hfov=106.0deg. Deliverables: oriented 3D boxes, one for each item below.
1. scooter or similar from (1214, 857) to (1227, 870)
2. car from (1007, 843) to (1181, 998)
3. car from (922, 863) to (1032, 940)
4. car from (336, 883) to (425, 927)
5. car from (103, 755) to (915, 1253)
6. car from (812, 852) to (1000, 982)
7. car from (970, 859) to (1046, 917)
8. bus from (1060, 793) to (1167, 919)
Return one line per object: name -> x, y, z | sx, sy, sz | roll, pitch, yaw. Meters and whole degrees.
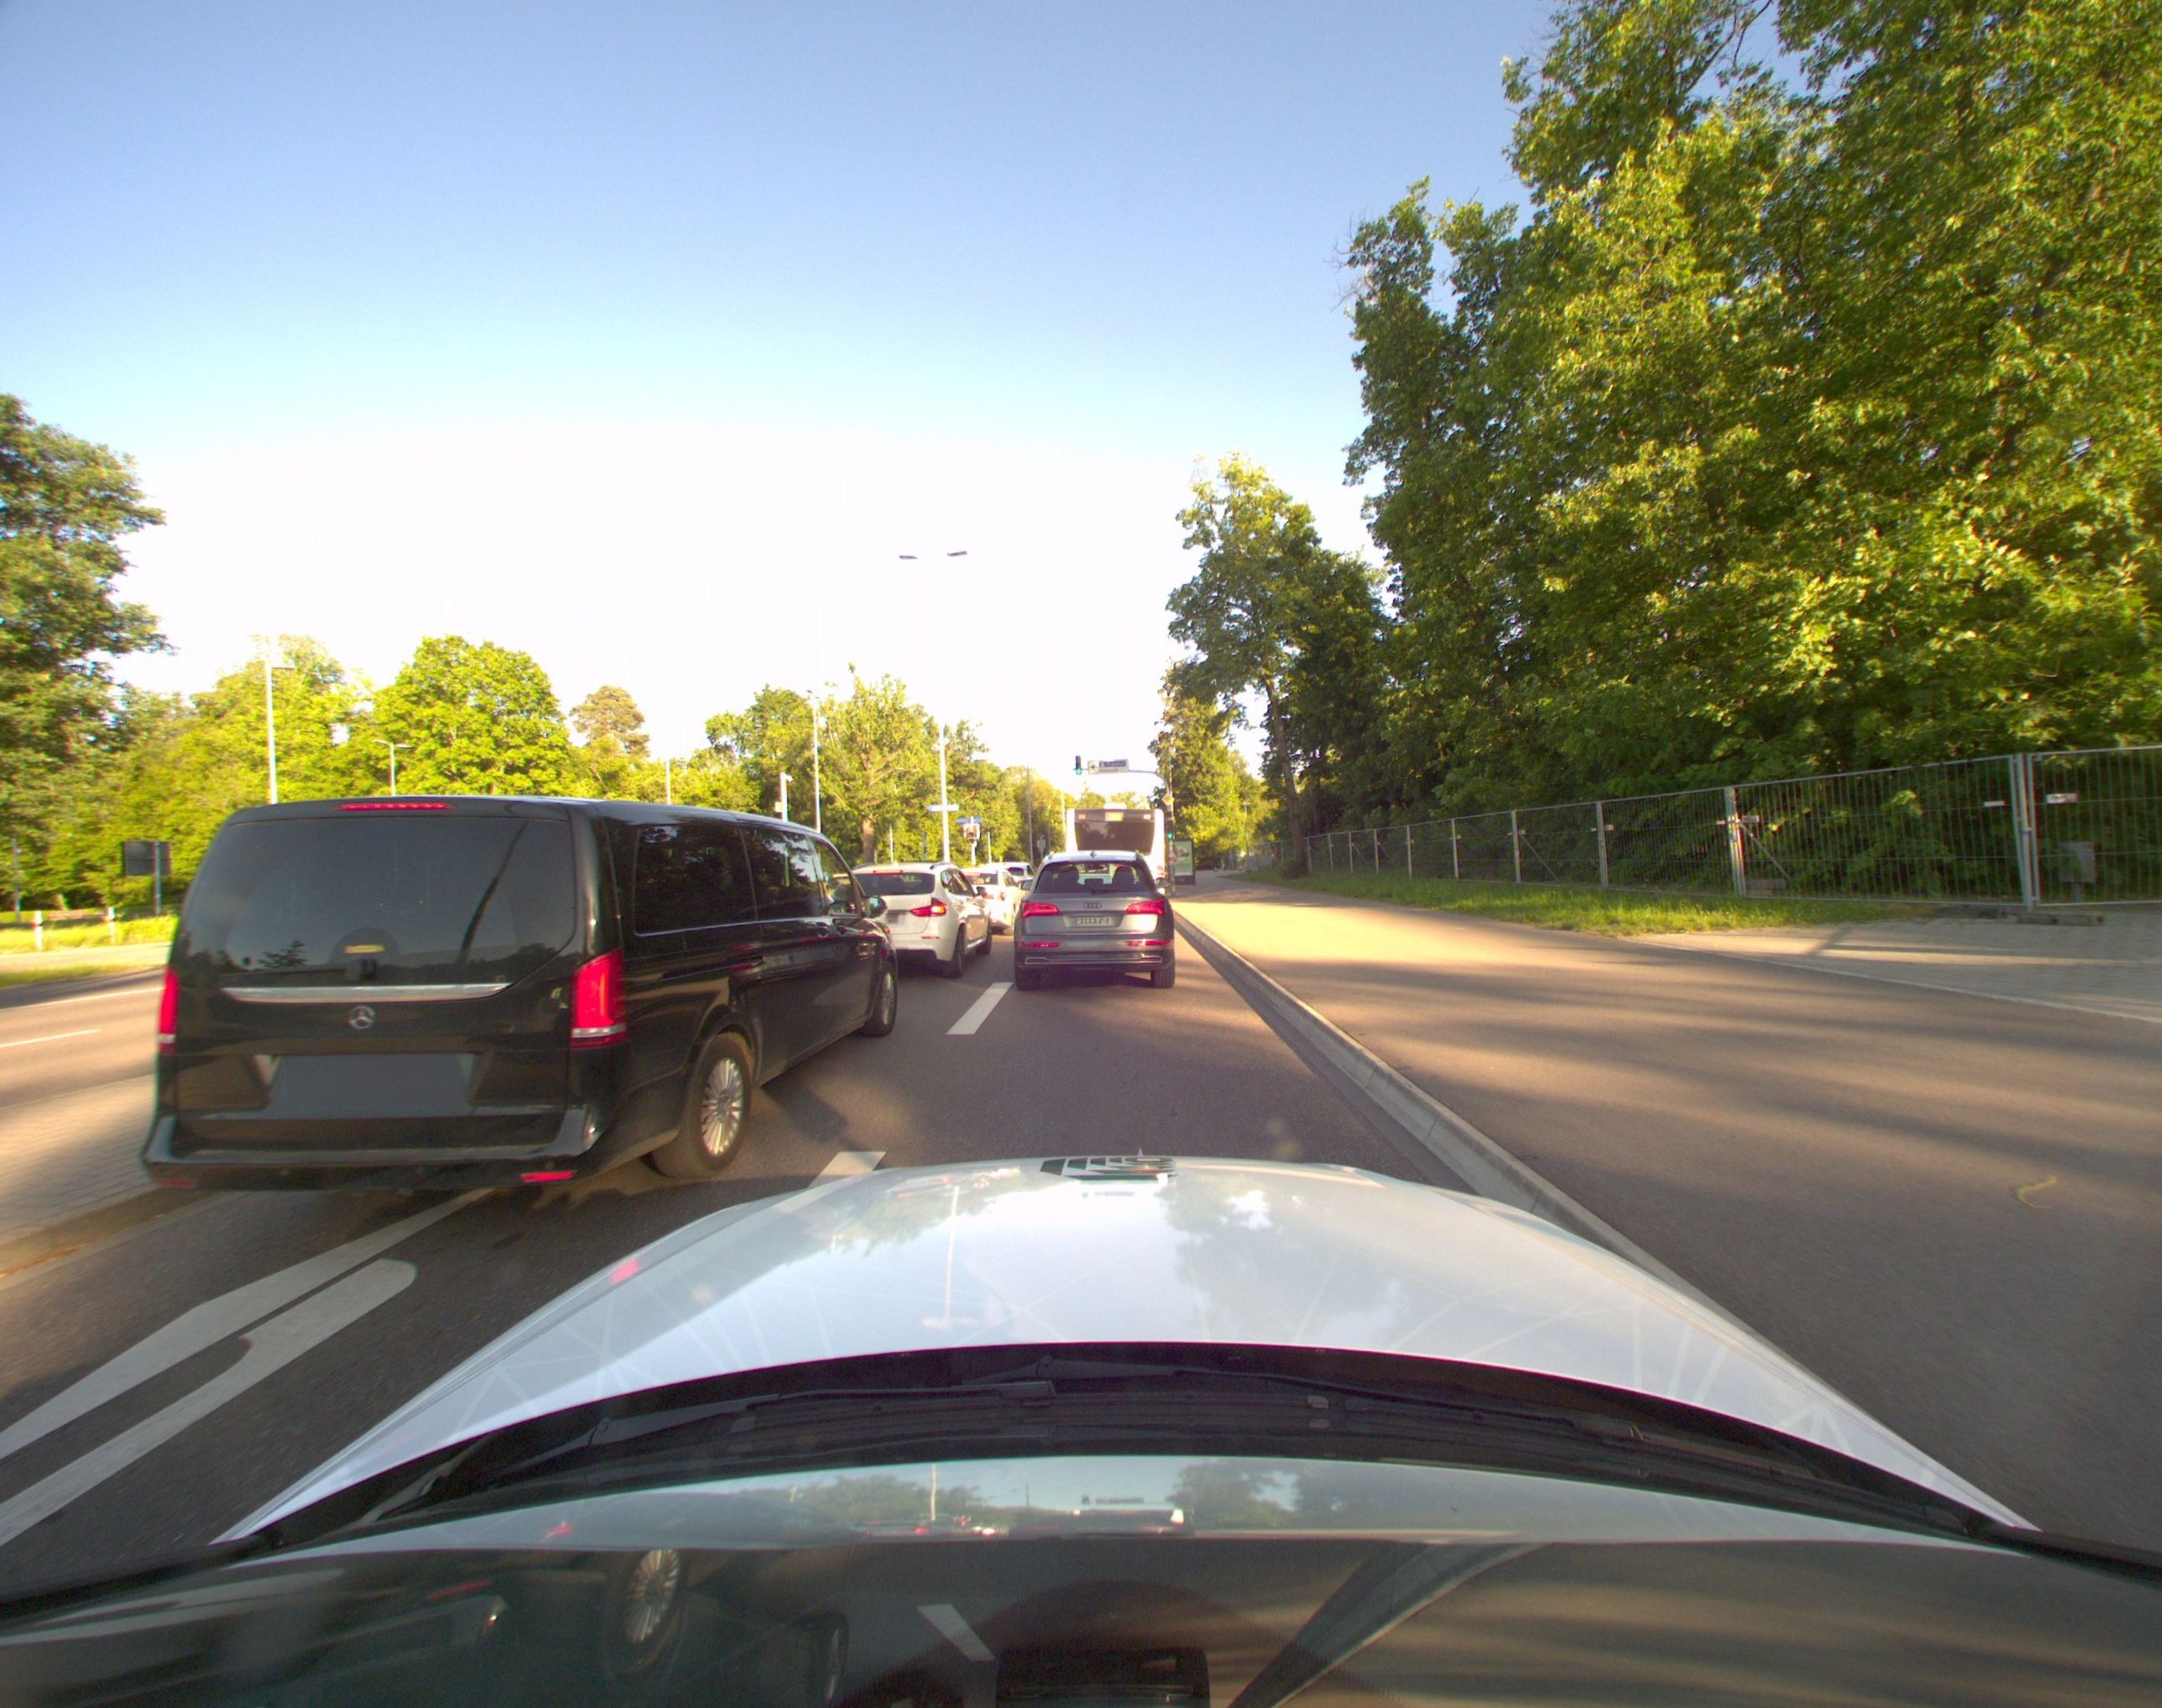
scooter or similar -> 12.757, 0.885, 74.537 | 1.175, 1.174, 0.661 | 0, 0, 13
car -> 0.202, 0.708, 10.764 | 1.861, 1.664, 4.002 | 0, 0, 2
car -> -2.194, 0.969, 18.303 | 1.778, 1.444, 4.279 | 0, 0, 2
car -> -28.815, 2.029, 33.460 | 3.948, 1.618, 2.013 | -1, -1, 38
car -> -2.649, 0.556, 5.489 | 1.900, 1.856, 4.875 | 0, 0, 2
car -> -2.365, 0.819, 12.177 | 1.712, 1.581, 4.435 | 0, -1, 2
car -> -2.126, 0.957, 24.752 | 1.801, 1.572, 4.002 | 0, 0, 2
bus -> 0.983, 0.052, 23.391 | 2.667, 3.142, 5.886 | 0, 0, 3
